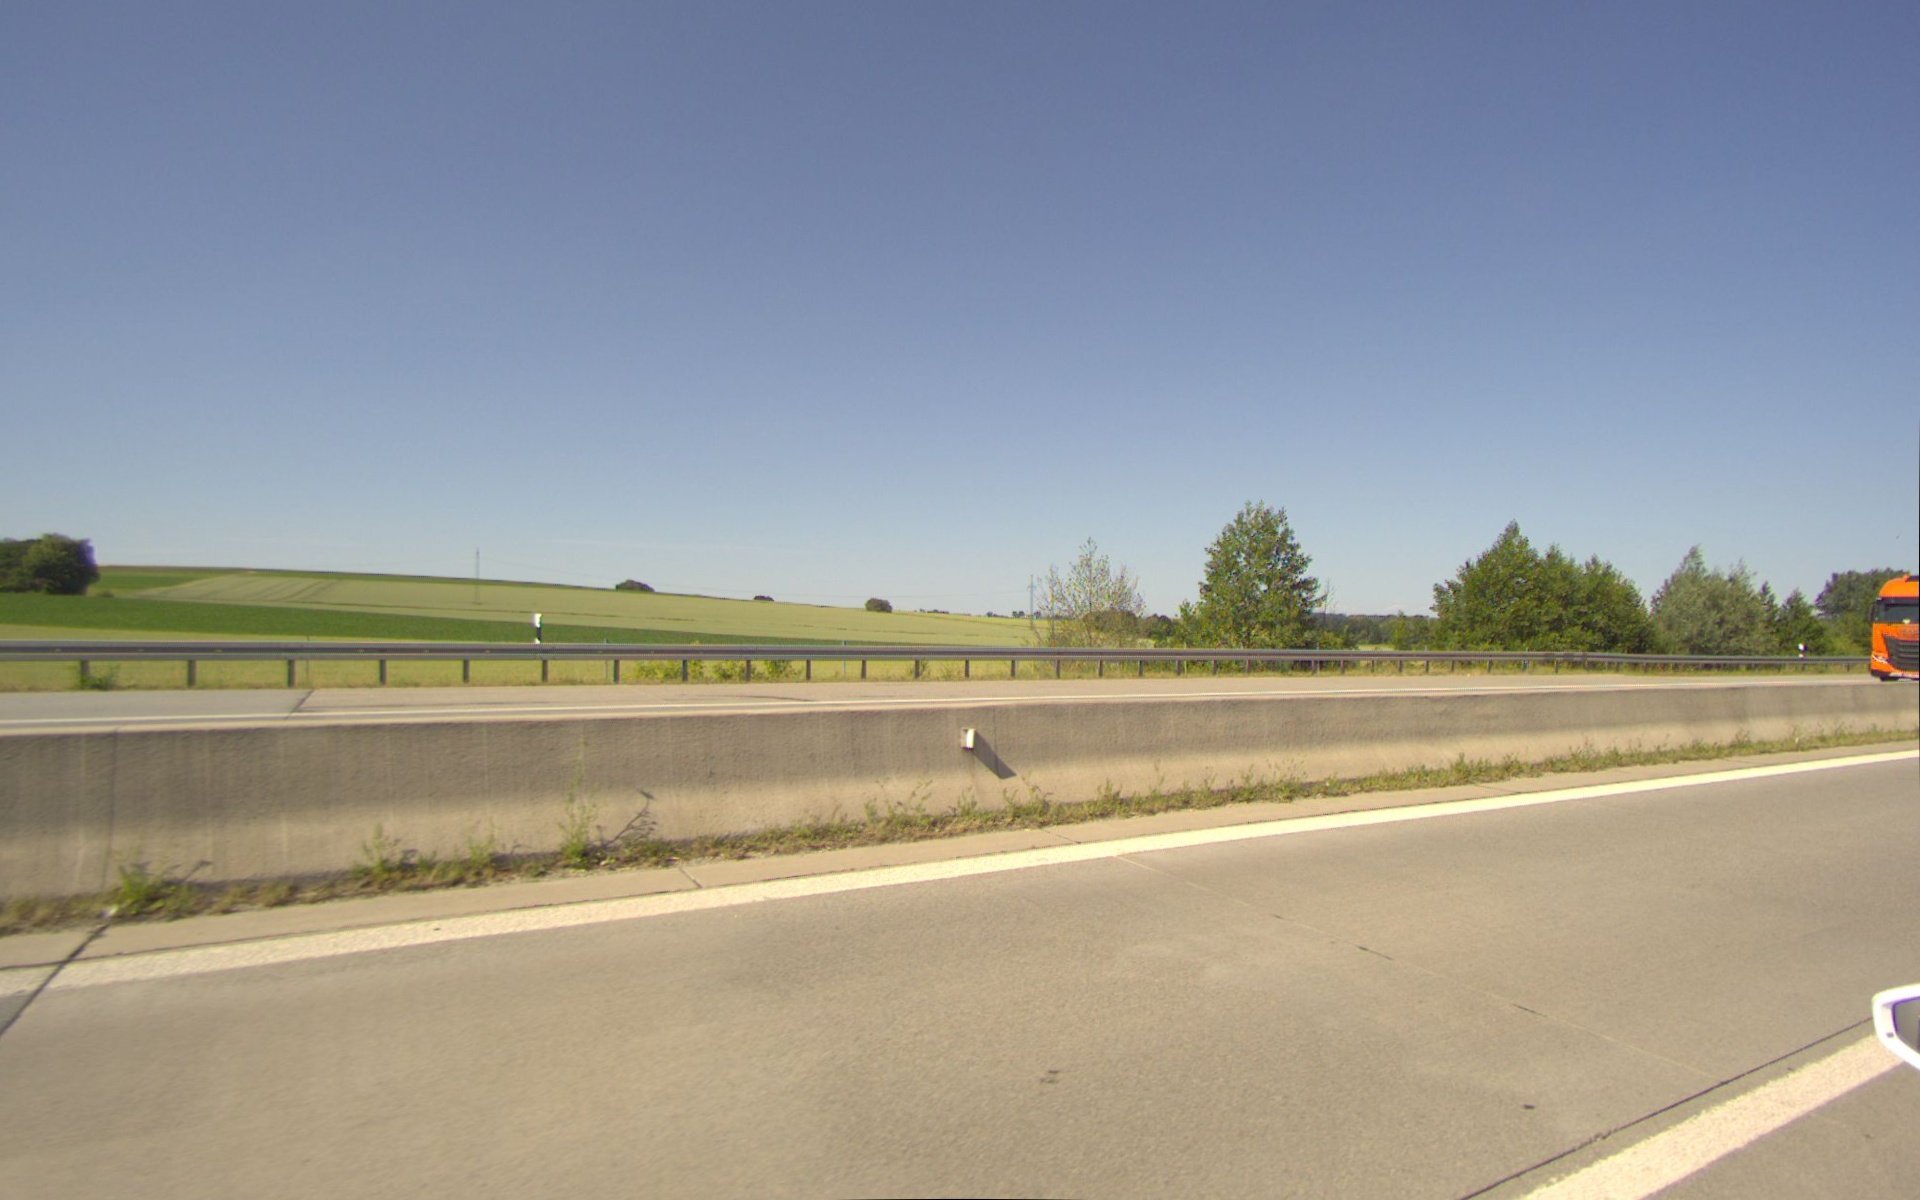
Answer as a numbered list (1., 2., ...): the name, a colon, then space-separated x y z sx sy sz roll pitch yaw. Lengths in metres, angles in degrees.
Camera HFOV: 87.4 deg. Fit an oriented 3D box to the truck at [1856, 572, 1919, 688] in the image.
1. truck: 40.625 1.349 39.542 16.914 4.068 2.854 2 -1 -30
